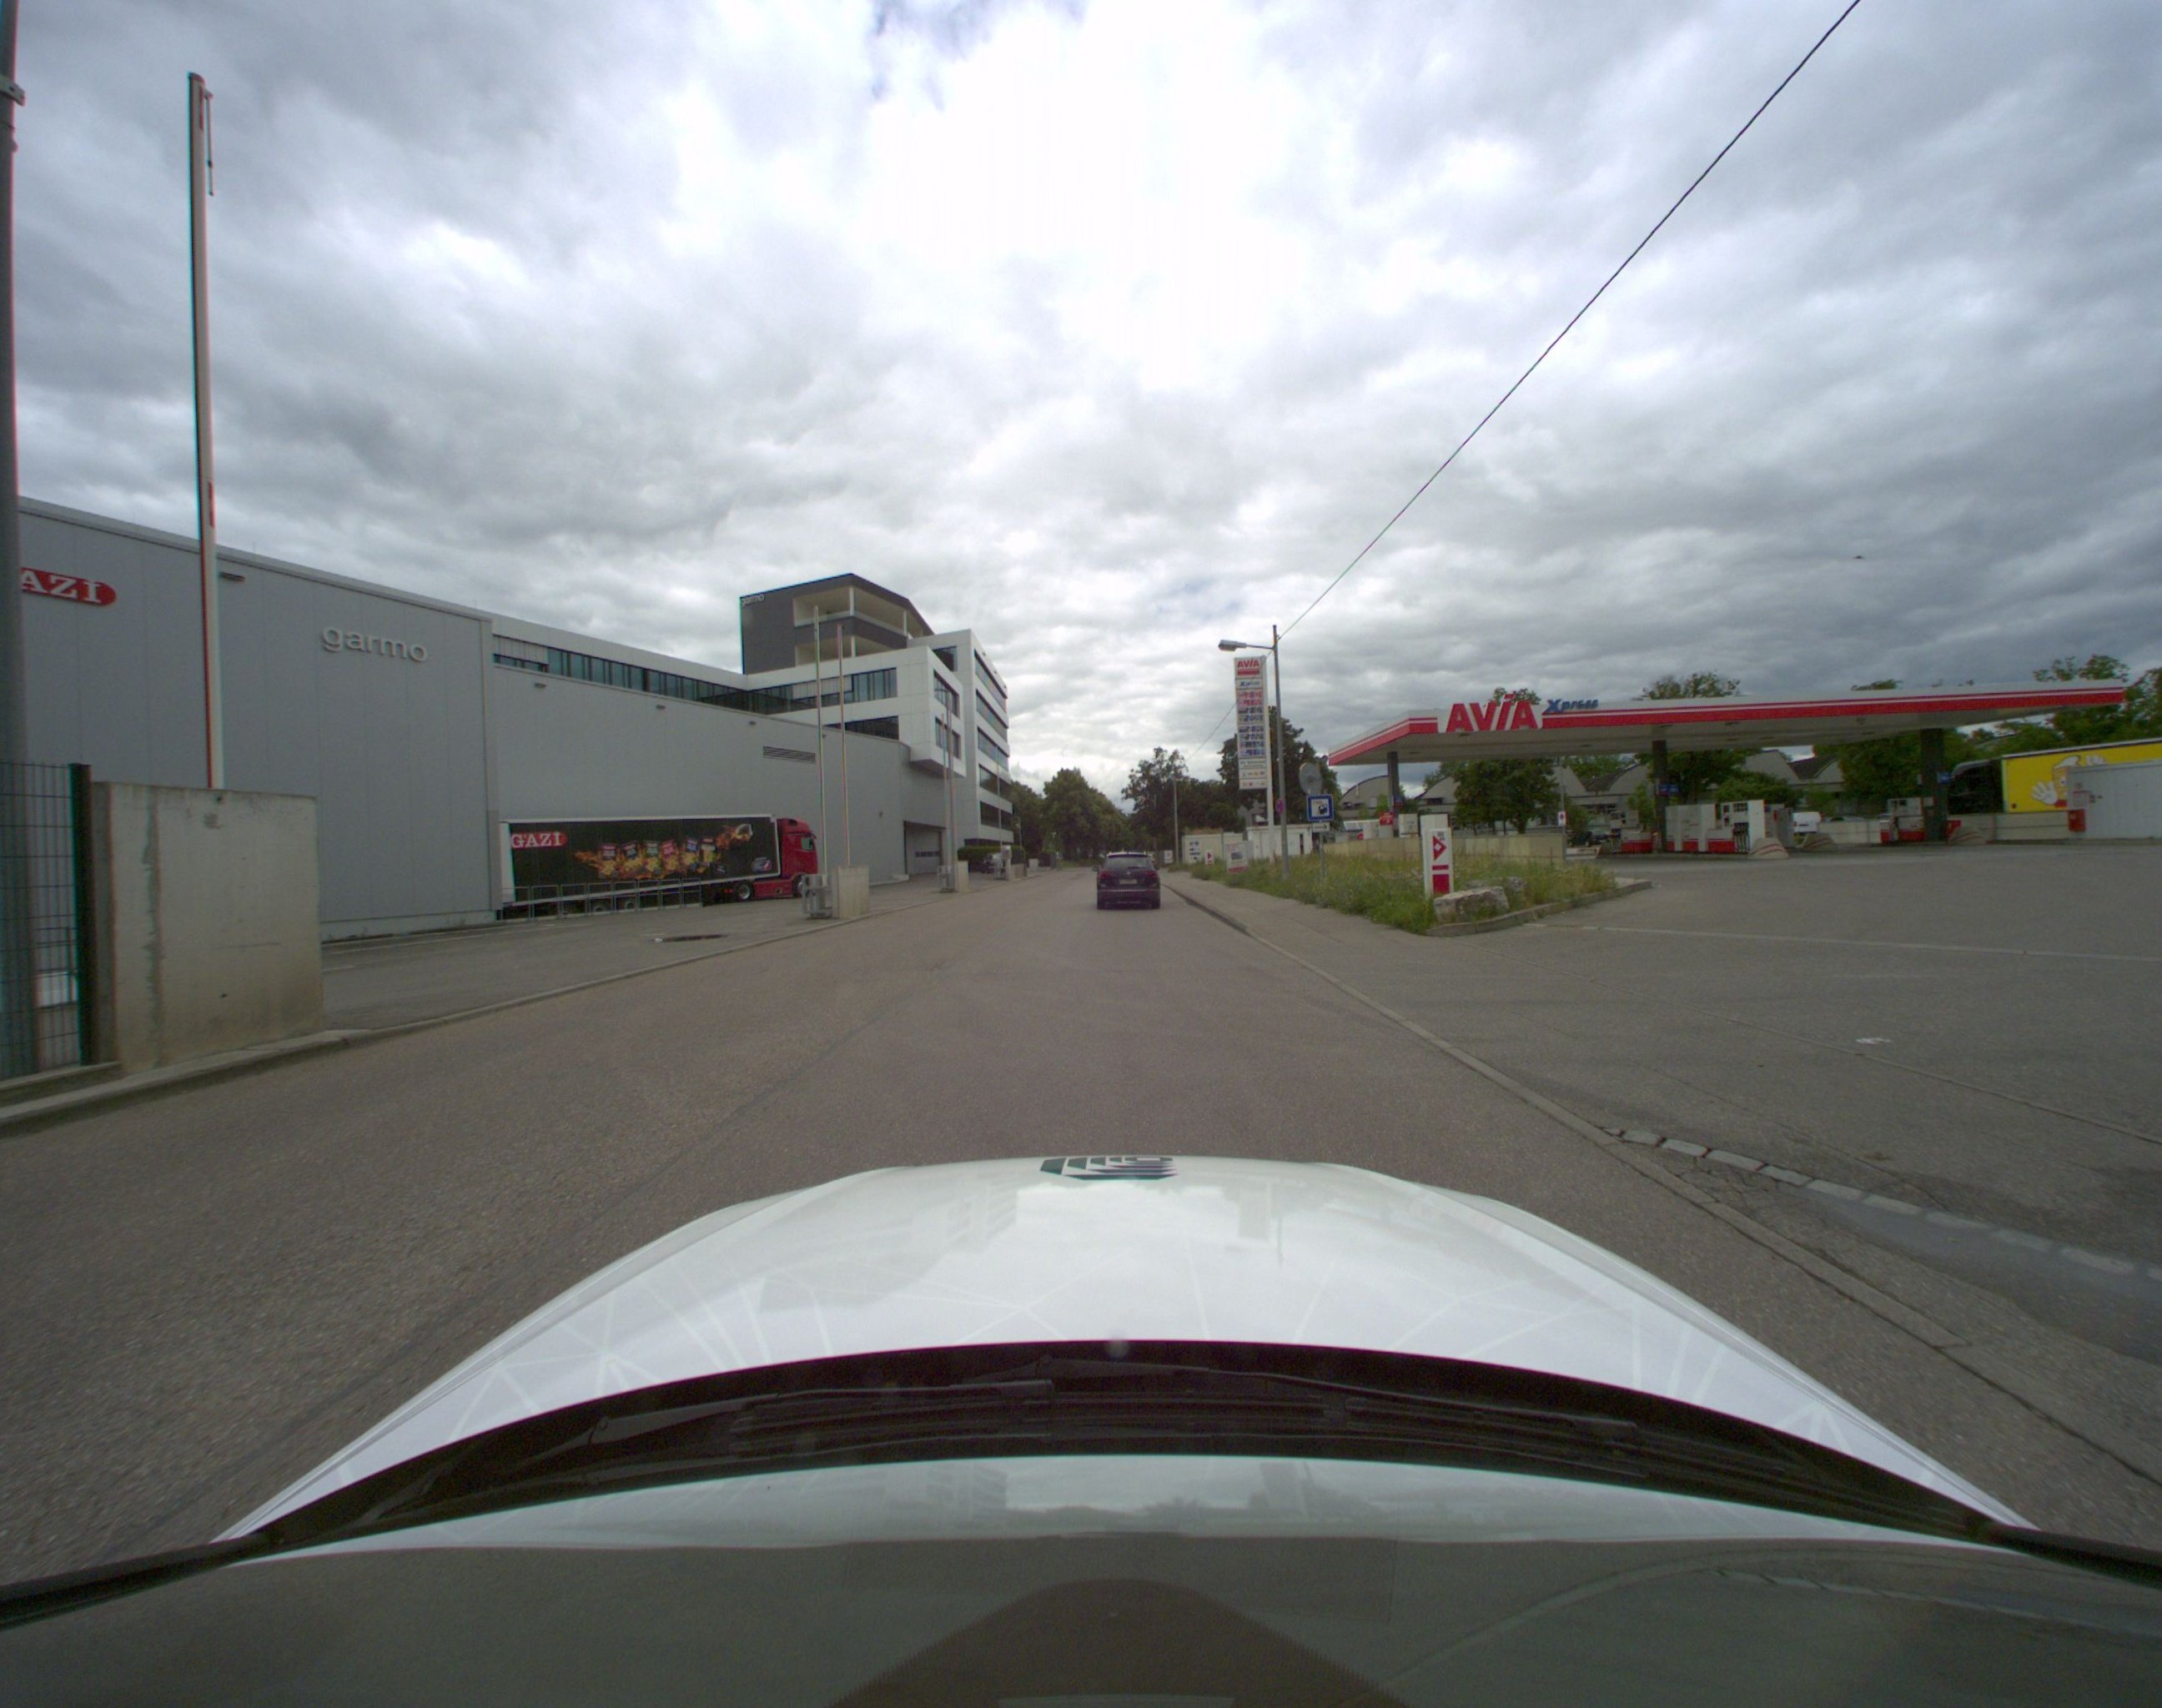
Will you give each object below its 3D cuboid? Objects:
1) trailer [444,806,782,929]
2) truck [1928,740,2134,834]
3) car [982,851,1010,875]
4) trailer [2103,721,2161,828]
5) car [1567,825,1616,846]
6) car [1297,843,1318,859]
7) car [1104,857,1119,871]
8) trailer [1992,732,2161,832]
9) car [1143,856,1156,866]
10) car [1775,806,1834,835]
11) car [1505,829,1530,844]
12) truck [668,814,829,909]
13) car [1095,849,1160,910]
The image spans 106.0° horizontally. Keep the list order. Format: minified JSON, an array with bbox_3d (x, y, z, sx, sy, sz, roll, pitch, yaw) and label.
[{"bbox_3d":[-17.847,0.391,32.990,2.718,4.031,12.687,-2,0,23],"label":"trailer"},{"bbox_3d":[46.369,-3.125,40.090,2.946,3.915,6.042,-3,0,1],"label":"truck"},{"bbox_3d":[-6.612,0.685,63.363,1.643,1.762,3.182,-1,0,4],"label":"car"},{"bbox_3d":[50.052,-3.701,31.544,2.989,4.723,14.305,-3,0,1],"label":"trailer"},{"bbox_3d":[42.141,-1.511,67.330,1.725,1.530,3.887,-3,0,3],"label":"car"},{"bbox_3d":[26.084,-0.376,93.684,1.978,1.612,4.462,-4,0,18],"label":"car"},{"bbox_3d":[3.972,1.266,104.719,1.832,1.616,4.002,-2,0,2],"label":"car"},{"bbox_3d":[46.218,-3.159,32.866,2.989,3.915,14.305,-3,0,1],"label":"trailer"},{"bbox_3d":[12.847,1.368,152.052,1.981,1.786,4.011,-2,0,10],"label":"car"},{"bbox_3d":[58.998,-2.721,66.495,2.076,2.103,4.930,-3,-1,24],"label":"car"},{"bbox_3d":[49.162,-2.013,91.810,1.888,1.521,4.086,-4,0,21],"label":"car"},{"bbox_3d":[-15.488,0.308,38.624,2.718,4.031,7.131,-2,0,23],"label":"truck"},{"bbox_3d":[1.409,0.717,24.143,1.731,1.618,3.645,-2,-1,4],"label":"car"}]
